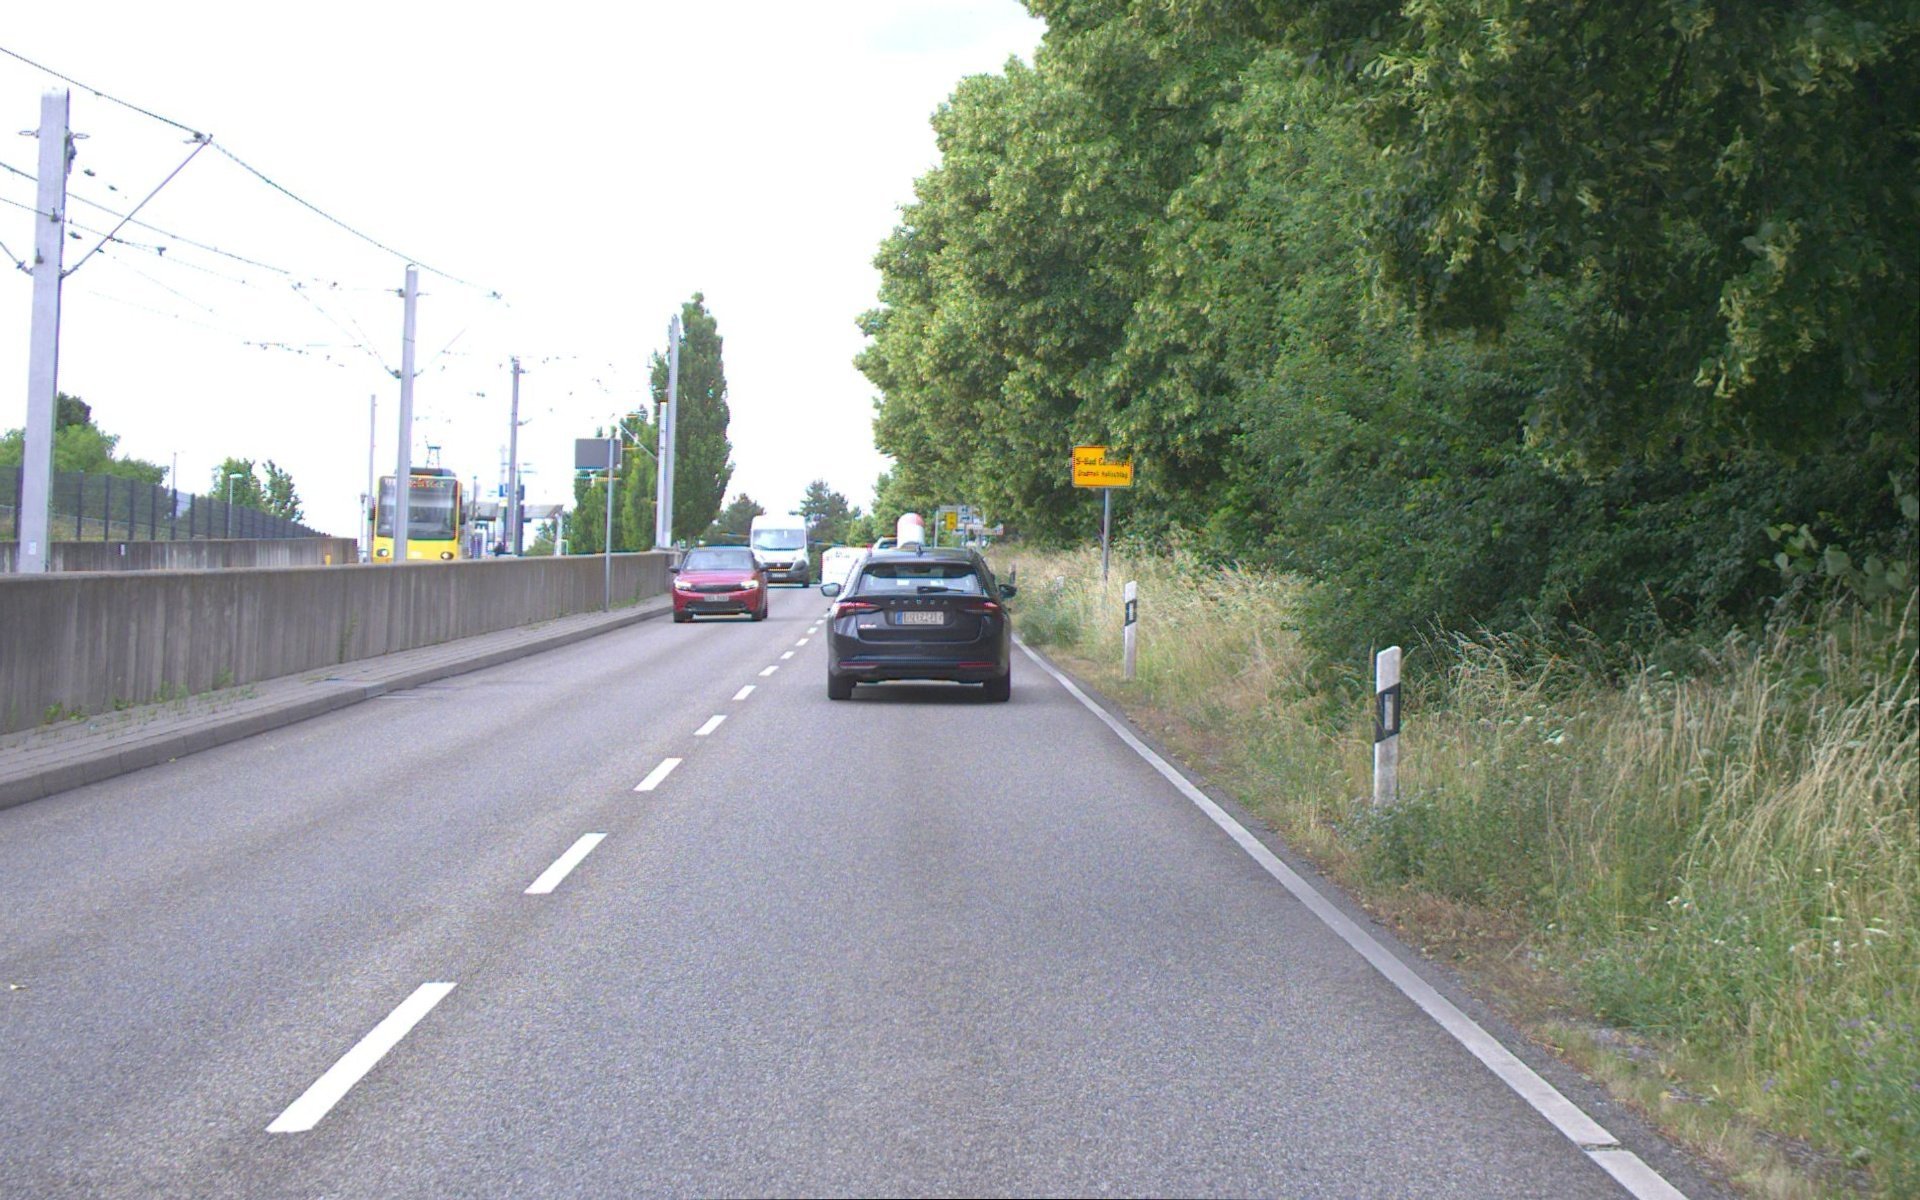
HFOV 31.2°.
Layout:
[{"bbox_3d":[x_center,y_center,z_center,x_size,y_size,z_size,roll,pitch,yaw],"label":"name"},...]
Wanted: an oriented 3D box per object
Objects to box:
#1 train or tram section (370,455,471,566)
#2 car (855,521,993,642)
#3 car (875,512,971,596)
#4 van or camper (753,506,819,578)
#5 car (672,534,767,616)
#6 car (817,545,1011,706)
[{"bbox_3d":[-17.283,-2.693,109.270,2.811,3.106,18.920,0,0,-10],"label":"train or tram section"},{"bbox_3d":[-0.549,-0.309,51.801,1.993,1.747,4.000,0,1,-1],"label":"car"},{"bbox_3d":[-0.798,-0.956,73.393,1.993,1.734,4.000,0,0,-1],"label":"car"},{"bbox_3d":[-5.957,-2.000,118.516,2.082,2.388,6.138,1,1,-1],"label":"van or camper"},{"bbox_3d":[-4.631,-0.500,66.656,1.662,1.540,3.953,0,1,-1],"label":"car"},{"bbox_3d":[-0.457,0.203,33.765,1.781,1.463,4.000,0,1,-1],"label":"car"}]
